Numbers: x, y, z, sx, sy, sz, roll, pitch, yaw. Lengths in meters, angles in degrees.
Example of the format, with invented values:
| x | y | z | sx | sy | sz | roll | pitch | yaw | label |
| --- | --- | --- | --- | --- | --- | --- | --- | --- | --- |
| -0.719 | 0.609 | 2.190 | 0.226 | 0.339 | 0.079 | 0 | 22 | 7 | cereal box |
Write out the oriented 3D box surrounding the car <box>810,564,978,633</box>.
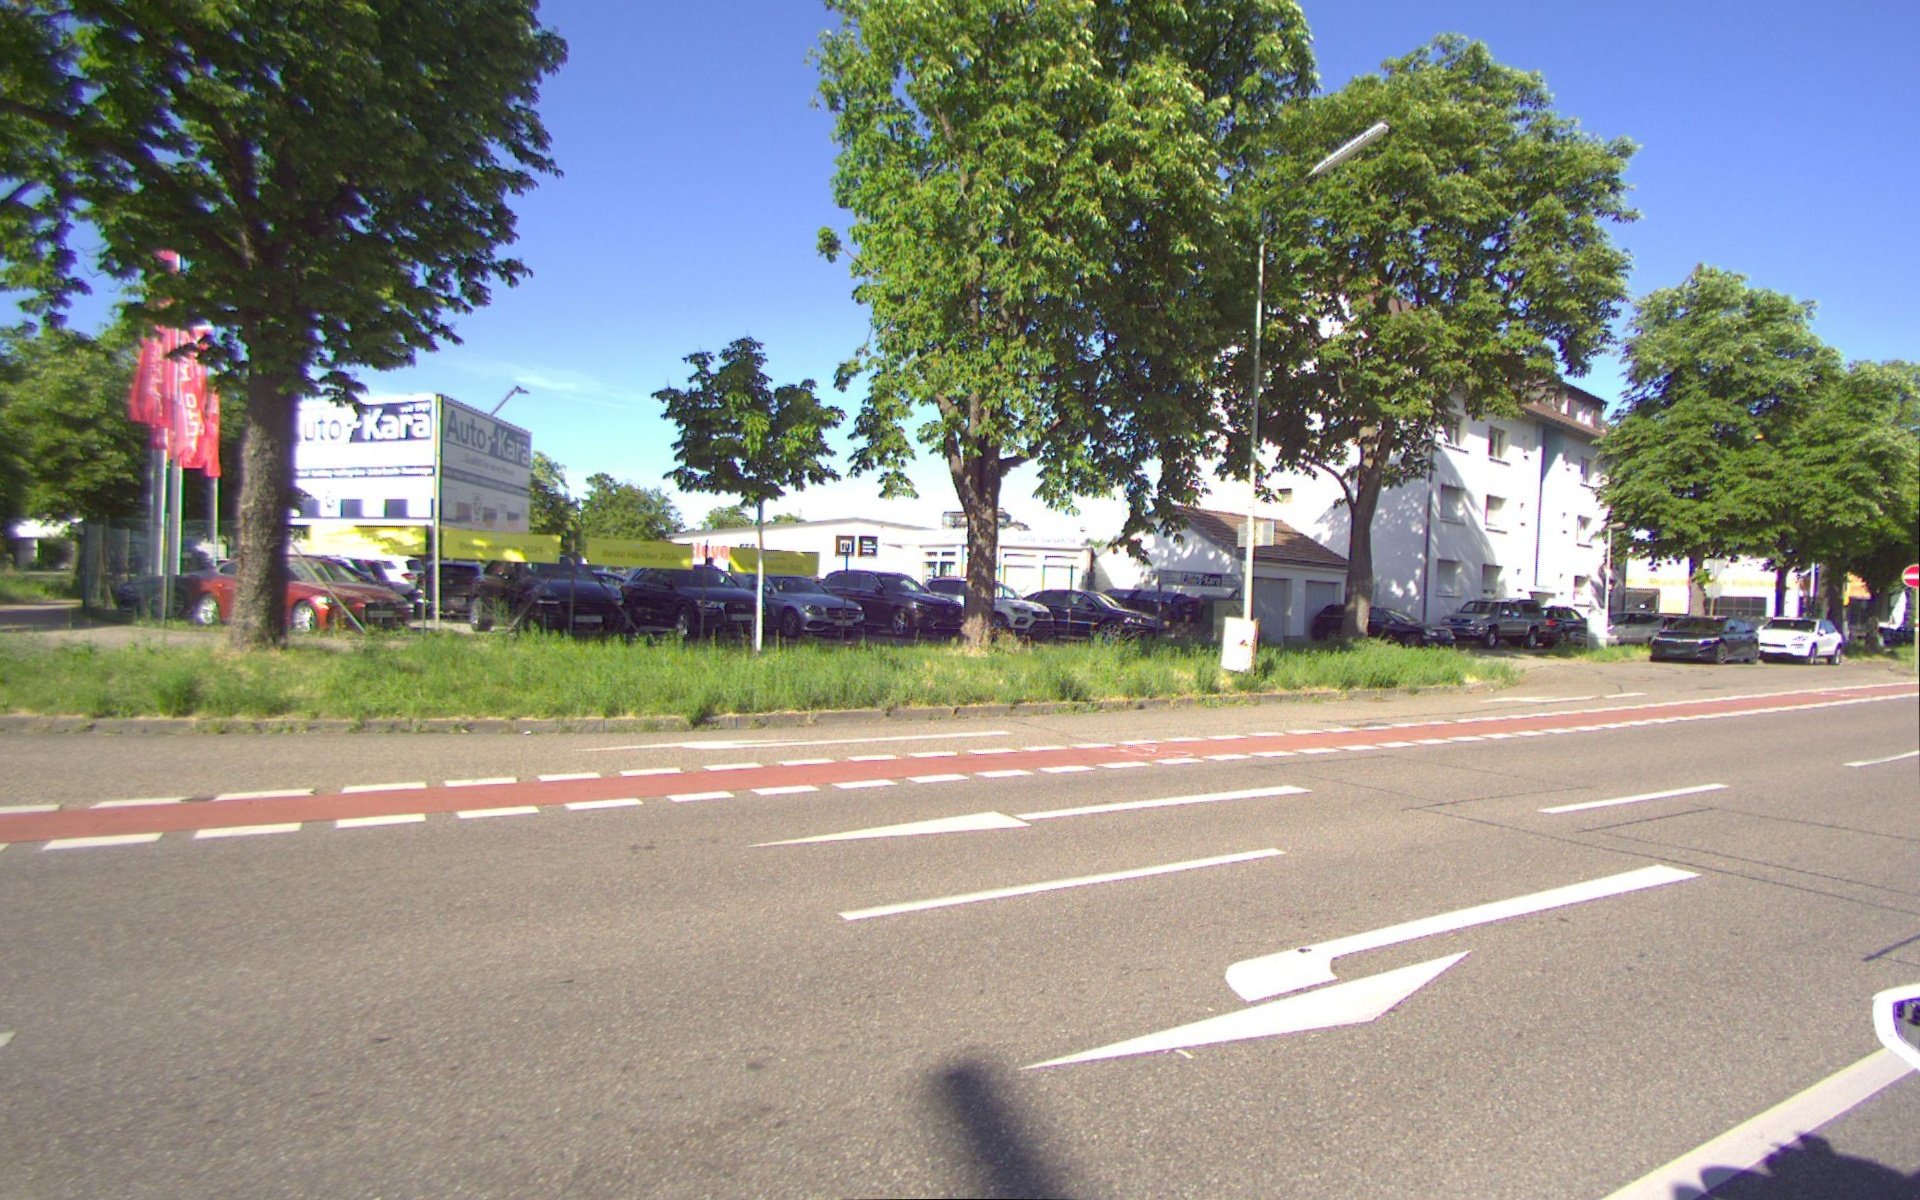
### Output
| x | y | z | sx | sy | sz | roll | pitch | yaw | label |
| --- | --- | --- | --- | --- | --- | --- | --- | --- | --- |
| -1.708 | -0.081 | 25.354 | 3.938 | 1.581 | 1.991 | 2 | 1 | 39 | car |

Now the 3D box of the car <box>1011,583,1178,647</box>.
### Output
| x | y | z | sx | sy | sz | roll | pitch | yaw | label |
| --- | --- | --- | --- | --- | --- | --- | --- | --- | --- |
| 3.759 | 0.379 | 28.483 | 4.338 | 1.596 | 1.807 | 2 | 1 | 37 | car |

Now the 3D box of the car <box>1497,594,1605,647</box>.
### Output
| x | y | z | sx | sy | sz | roll | pitch | yaw | label |
| --- | --- | --- | --- | --- | --- | --- | --- | --- | --- |
| 23.598 | 0.822 | 40.049 | 4.744 | 1.956 | 2.054 | 2 | 1 | -38 | car |

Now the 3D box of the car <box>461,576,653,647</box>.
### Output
| x | y | z | sx | sy | sz | roll | pitch | yaw | label |
| --- | --- | --- | --- | --- | --- | --- | --- | --- | --- |
| -8.304 | 0.179 | 20.611 | 3.872 | 1.257 | 2.035 | 2 | 1 | 39 | car |

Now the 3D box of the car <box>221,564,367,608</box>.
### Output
| x | y | z | sx | sy | sz | roll | pitch | yaw | label |
| --- | --- | --- | --- | --- | --- | --- | --- | --- | --- |
| -23.047 | -0.485 | 34.936 | 3.943 | 1.427 | 1.828 | 1 | 1 | -23 | car |

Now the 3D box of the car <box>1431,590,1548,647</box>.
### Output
| x | y | z | sx | sy | sz | roll | pitch | yaw | label |
| --- | --- | --- | --- | --- | --- | --- | --- | --- | --- |
| 19.569 | 0.691 | 37.026 | 5.054 | 1.956 | 1.735 | 1 | 1 | -36 | car |

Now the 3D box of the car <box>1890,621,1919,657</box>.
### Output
| x | y | z | sx | sy | sz | roll | pitch | yaw | label |
| --- | --- | --- | --- | --- | --- | --- | --- | --- | --- |
| 57.697 | 2.333 | 60.240 | 4.213 | 2.018 | 1.911 | 1 | 1 | -34 | car |

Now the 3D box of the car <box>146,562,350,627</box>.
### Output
| x | y | z | sx | sy | sz | roll | pitch | yaw | label |
| --- | --- | --- | --- | --- | --- | --- | --- | --- | --- |
| -17.862 | -0.124 | 25.426 | 3.948 | 1.481 | 1.733 | 2 | 0 | -27 | car |

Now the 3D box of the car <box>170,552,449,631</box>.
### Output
| x | y | z | sx | sy | sz | roll | pitch | yaw | label |
| --- | --- | --- | --- | --- | --- | --- | --- | --- | --- |
| -12.726 | -0.207 | 19.643 | 4.965 | 1.327 | 2.358 | 2 | 1 | 26 | car |

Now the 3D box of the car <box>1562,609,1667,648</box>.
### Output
| x | y | z | sx | sy | sz | roll | pitch | yaw | label |
| --- | --- | --- | --- | --- | --- | --- | --- | --- | --- |
| 28.522 | 1.216 | 43.885 | 3.601 | 1.530 | 1.782 | 2 | 1 | 27 | car |

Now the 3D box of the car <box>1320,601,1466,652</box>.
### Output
| x | y | z | sx | sy | sz | roll | pitch | yaw | label |
| --- | --- | --- | --- | --- | --- | --- | --- | --- | --- |
| 14.139 | 0.842 | 32.962 | 1.893 | 1.448 | 3.953 | 3 | 0 | -40 | car |

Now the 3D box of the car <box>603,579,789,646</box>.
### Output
| x | y | z | sx | sy | sz | roll | pitch | yaw | label |
| --- | --- | --- | --- | --- | --- | --- | --- | --- | --- |
| -5.816 | 0.221 | 21.960 | 3.872 | 1.257 | 2.035 | 2 | 1 | 39 | car |

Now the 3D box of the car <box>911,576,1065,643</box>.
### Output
| x | y | z | sx | sy | sz | roll | pitch | yaw | label |
| --- | --- | --- | --- | --- | --- | --- | --- | --- | --- |
| 0.688 | 0.215 | 27.154 | 1.909 | 1.632 | 3.947 | 0 | 1 | -44 | car |

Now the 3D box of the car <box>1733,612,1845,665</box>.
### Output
| x | y | z | sx | sy | sz | roll | pitch | yaw | label |
| --- | --- | --- | --- | --- | --- | --- | --- | --- | --- |
| 30.981 | 1.413 | 37.487 | 5.188 | 1.752 | 2.022 | 1 | 1 | -37 | car |

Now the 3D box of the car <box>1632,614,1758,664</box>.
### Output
| x | y | z | sx | sy | sz | roll | pitch | yaw | label |
| --- | --- | --- | --- | --- | --- | --- | --- | --- | --- |
| 24.157 | 1.250 | 32.960 | 4.916 | 1.483 | 2.022 | 1 | 1 | -38 | car |

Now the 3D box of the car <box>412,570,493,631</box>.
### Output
| x | y | z | sx | sy | sz | roll | pitch | yaw | label |
| --- | --- | --- | --- | --- | --- | --- | --- | --- | --- |
| -13.741 | -0.008 | 27.284 | 1.809 | 1.526 | 3.972 | 1 | 0 | -27 | car |

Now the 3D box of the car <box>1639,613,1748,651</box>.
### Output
| x | y | z | sx | sy | sz | roll | pitch | yaw | label |
| --- | --- | --- | --- | --- | --- | --- | --- | --- | --- |
| 35.476 | 1.499 | 48.652 | 1.885 | 1.605 | 3.961 | 0 | 2 | -43 | car |

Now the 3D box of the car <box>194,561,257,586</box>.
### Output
| x | y | z | sx | sy | sz | roll | pitch | yaw | label |
| --- | --- | --- | --- | --- | --- | --- | --- | --- | --- |
| -53.332 | -1.915 | 73.023 | 1.705 | 1.640 | 3.997 | 4 | 1 | -3 | car |

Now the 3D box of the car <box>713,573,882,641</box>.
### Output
| x | y | z | sx | sy | sz | roll | pitch | yaw | label |
| --- | --- | --- | --- | --- | --- | --- | --- | --- | --- |
| -3.881 | 0.125 | 23.695 | 3.822 | 1.432 | 1.937 | 2 | 1 | 41 | car |

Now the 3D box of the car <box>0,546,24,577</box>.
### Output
| x | y | z | sx | sy | sz | roll | pitch | yaw | label |
| --- | --- | --- | --- | --- | --- | --- | --- | --- | --- |
| -58.316 | -2.320 | 59.496 | 1.970 | 1.820 | 4.000 | 1 | 1 | 0 | car |

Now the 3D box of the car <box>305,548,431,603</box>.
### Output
| x | y | z | sx | sy | sz | roll | pitch | yaw | label |
| --- | --- | --- | --- | --- | --- | --- | --- | --- | --- |
| -23.581 | -0.956 | 40.165 | 3.936 | 2.041 | 1.992 | 1 | 1 | -17 | car |
